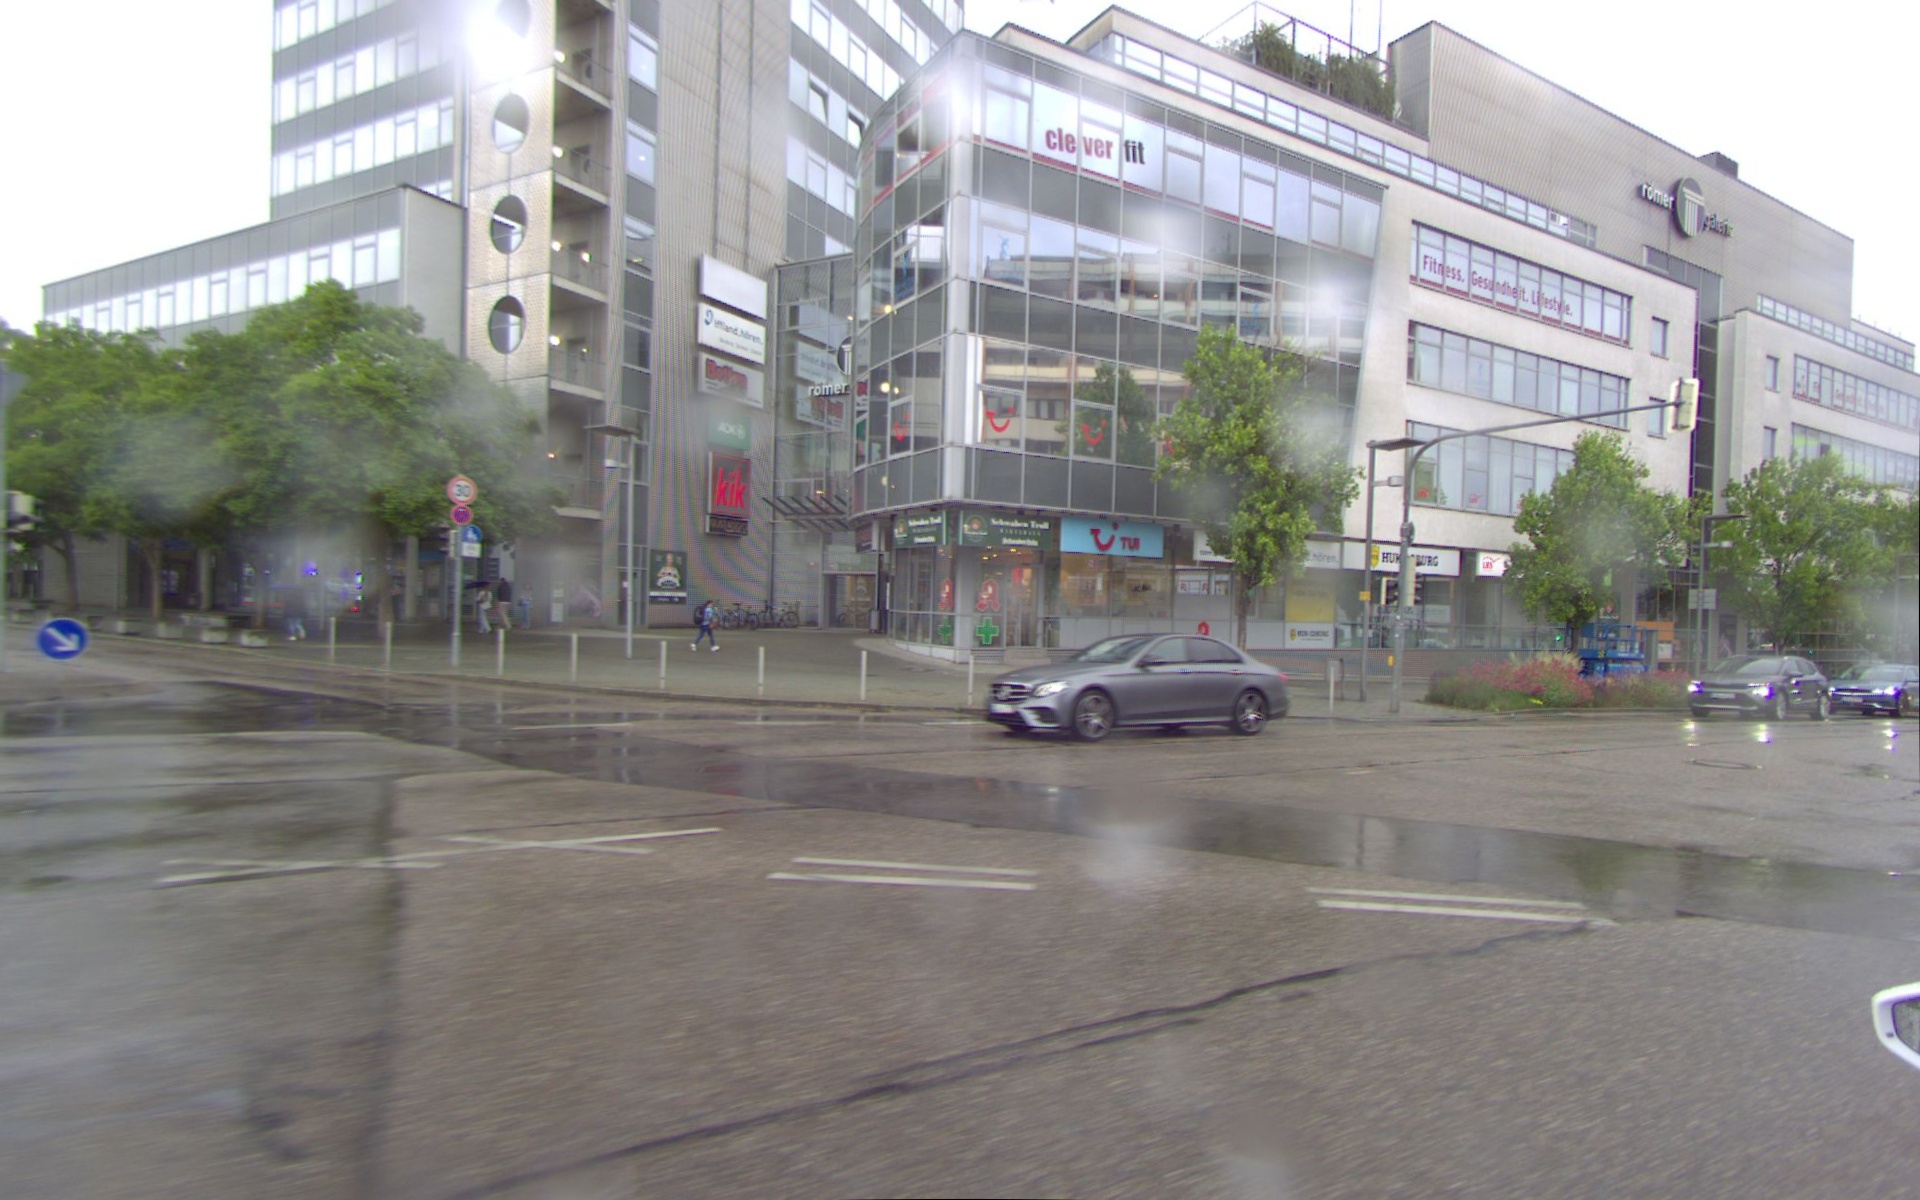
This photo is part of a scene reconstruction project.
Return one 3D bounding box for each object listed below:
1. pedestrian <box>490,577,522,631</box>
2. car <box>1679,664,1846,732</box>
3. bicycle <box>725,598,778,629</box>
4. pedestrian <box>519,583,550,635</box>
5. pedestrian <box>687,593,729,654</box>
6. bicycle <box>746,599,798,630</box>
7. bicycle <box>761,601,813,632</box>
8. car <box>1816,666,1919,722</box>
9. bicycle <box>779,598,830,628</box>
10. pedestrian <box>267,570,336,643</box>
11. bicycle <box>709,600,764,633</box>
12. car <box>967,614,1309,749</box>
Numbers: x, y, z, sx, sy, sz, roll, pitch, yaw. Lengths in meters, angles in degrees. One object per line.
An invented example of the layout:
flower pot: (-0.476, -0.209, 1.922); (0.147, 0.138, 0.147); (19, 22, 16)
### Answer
pedestrian: (-16.426, 0.148, 36.341); (0.821, 1.893, 0.750); (1, 0, 41)
car: (20.626, 2.477, 25.788); (4.472, 1.614, 1.867); (3, -5, -31)
bicycle: (-8.703, 0.565, 41.905); (2.239, 1.263, 0.676); (1, -1, 28)
pedestrian: (-15.803, 0.321, 37.318); (0.738, 1.893, 0.834); (1, 0, 2)
pedestrian: (-7.705, 0.713, 30.671); (1.012, 1.843, 0.841); (2, 0, -29)
bicycle: (-8.064, 0.618, 43.047); (2.239, 1.263, 0.676); (2, 0, 28)
bicycle: (-7.549, 0.721, 43.839); (2.239, 1.263, 0.676); (2, 0, 28)
car: (28.502, 2.853, 30.987); (4.535, 1.614, 1.766); (3, -5, -31)
bicycle: (-6.972, 0.585, 44.950); (2.239, 1.263, 0.676); (2, 0, 28)
pedestrian: (-19.212, 0.188, 29.326); (1.304, 2.040, 1.164); (2, 1, 28)
bicycle: (-9.125, 0.678, 40.998); (2.239, 1.263, 0.676); (2, 0, 28)
car: (2.660, 1.094, 14.550); (4.849, 1.653, 1.910); (2, -1, -32)
